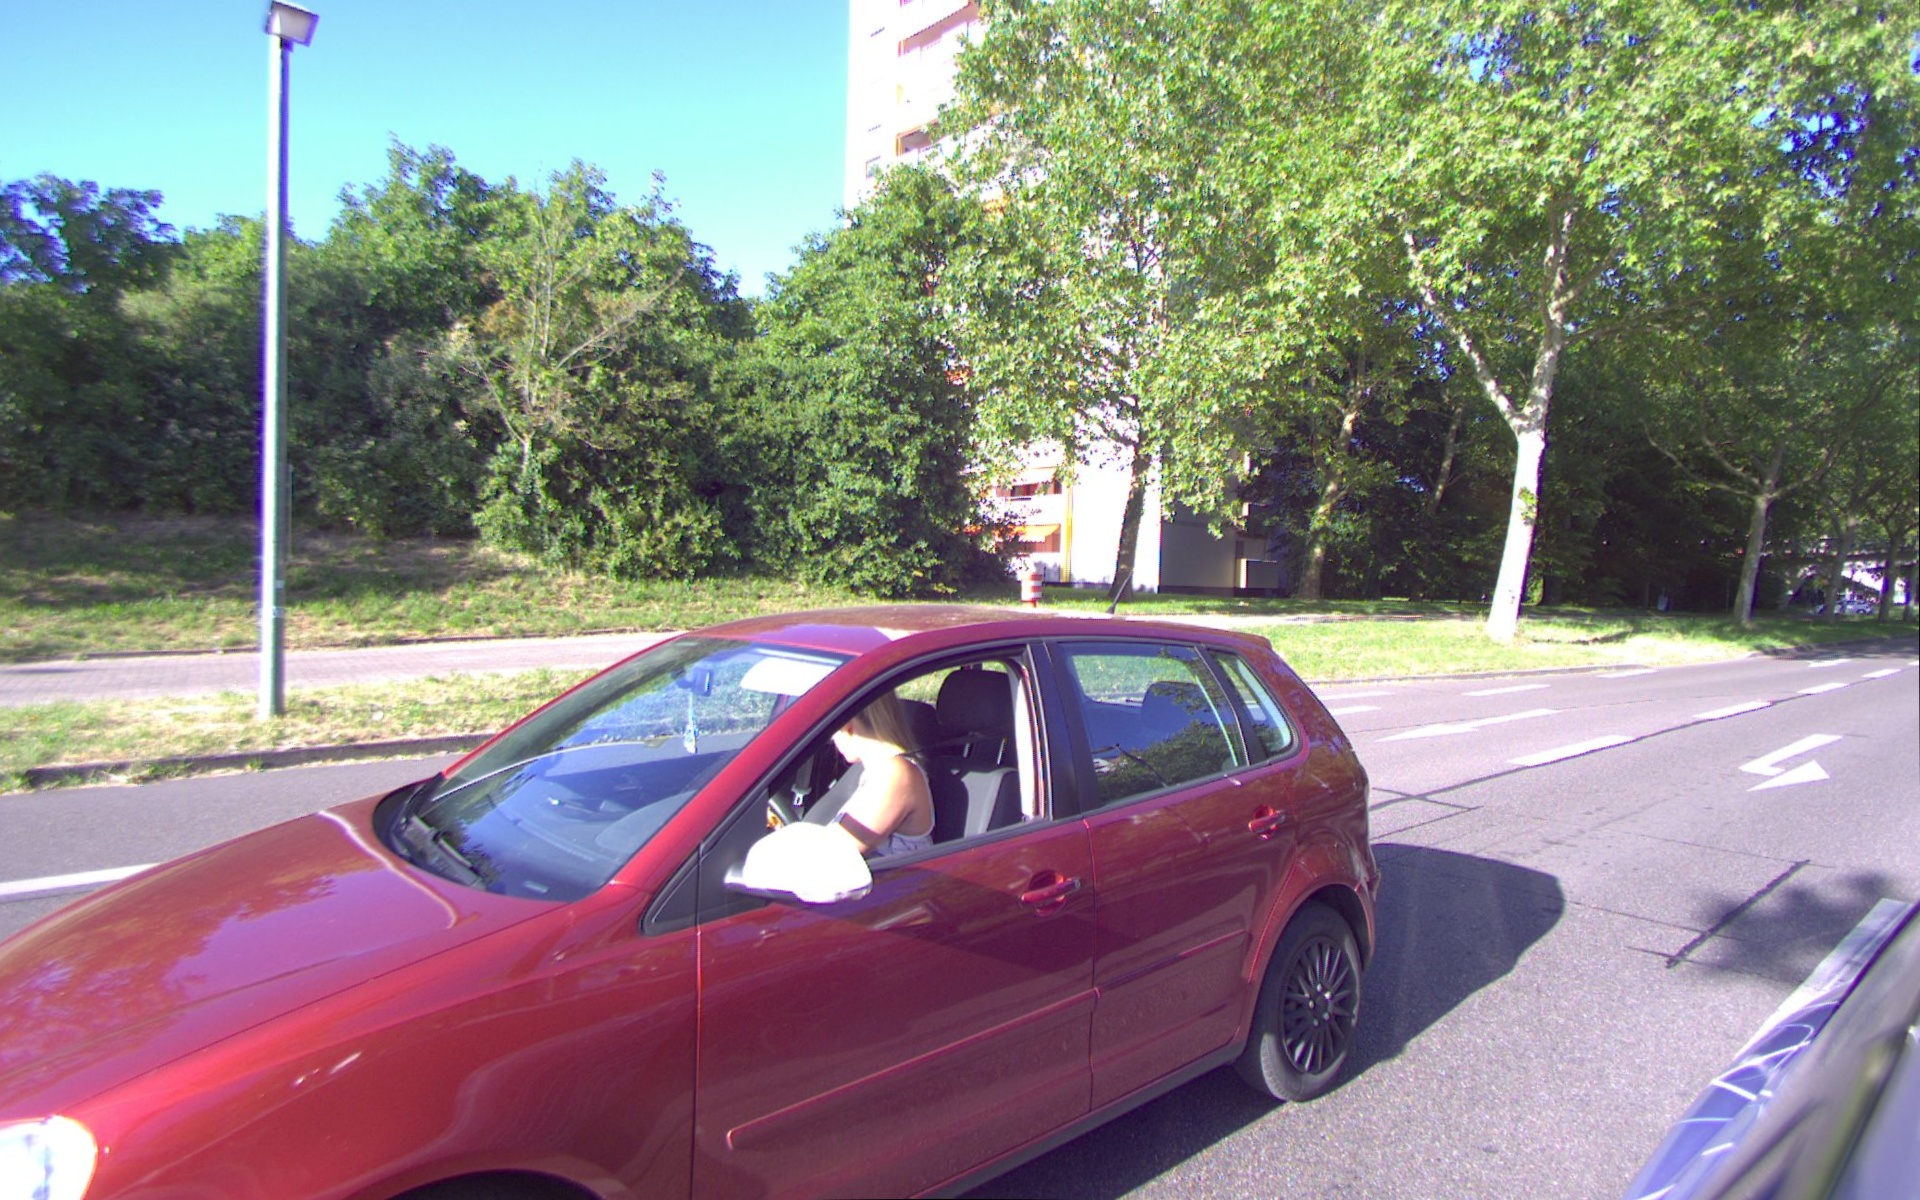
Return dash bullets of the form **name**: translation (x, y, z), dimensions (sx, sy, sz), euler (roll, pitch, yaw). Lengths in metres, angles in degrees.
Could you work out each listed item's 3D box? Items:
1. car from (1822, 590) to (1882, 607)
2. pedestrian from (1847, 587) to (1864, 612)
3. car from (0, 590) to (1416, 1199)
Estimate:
- **car**: translation (80.794, -0.096, 91.727), dimensions (3.983, 1.493, 1.772), euler (0, 0, 42)
- **pedestrian**: translation (74.625, -0.064, 84.318), dimensions (0.944, 2.039, 0.919), euler (0, 0, -37)
- **car**: translation (-0.440, 0.711, 2.788), dimensions (3.694, 1.456, 1.645), euler (-1, 1, -40)
